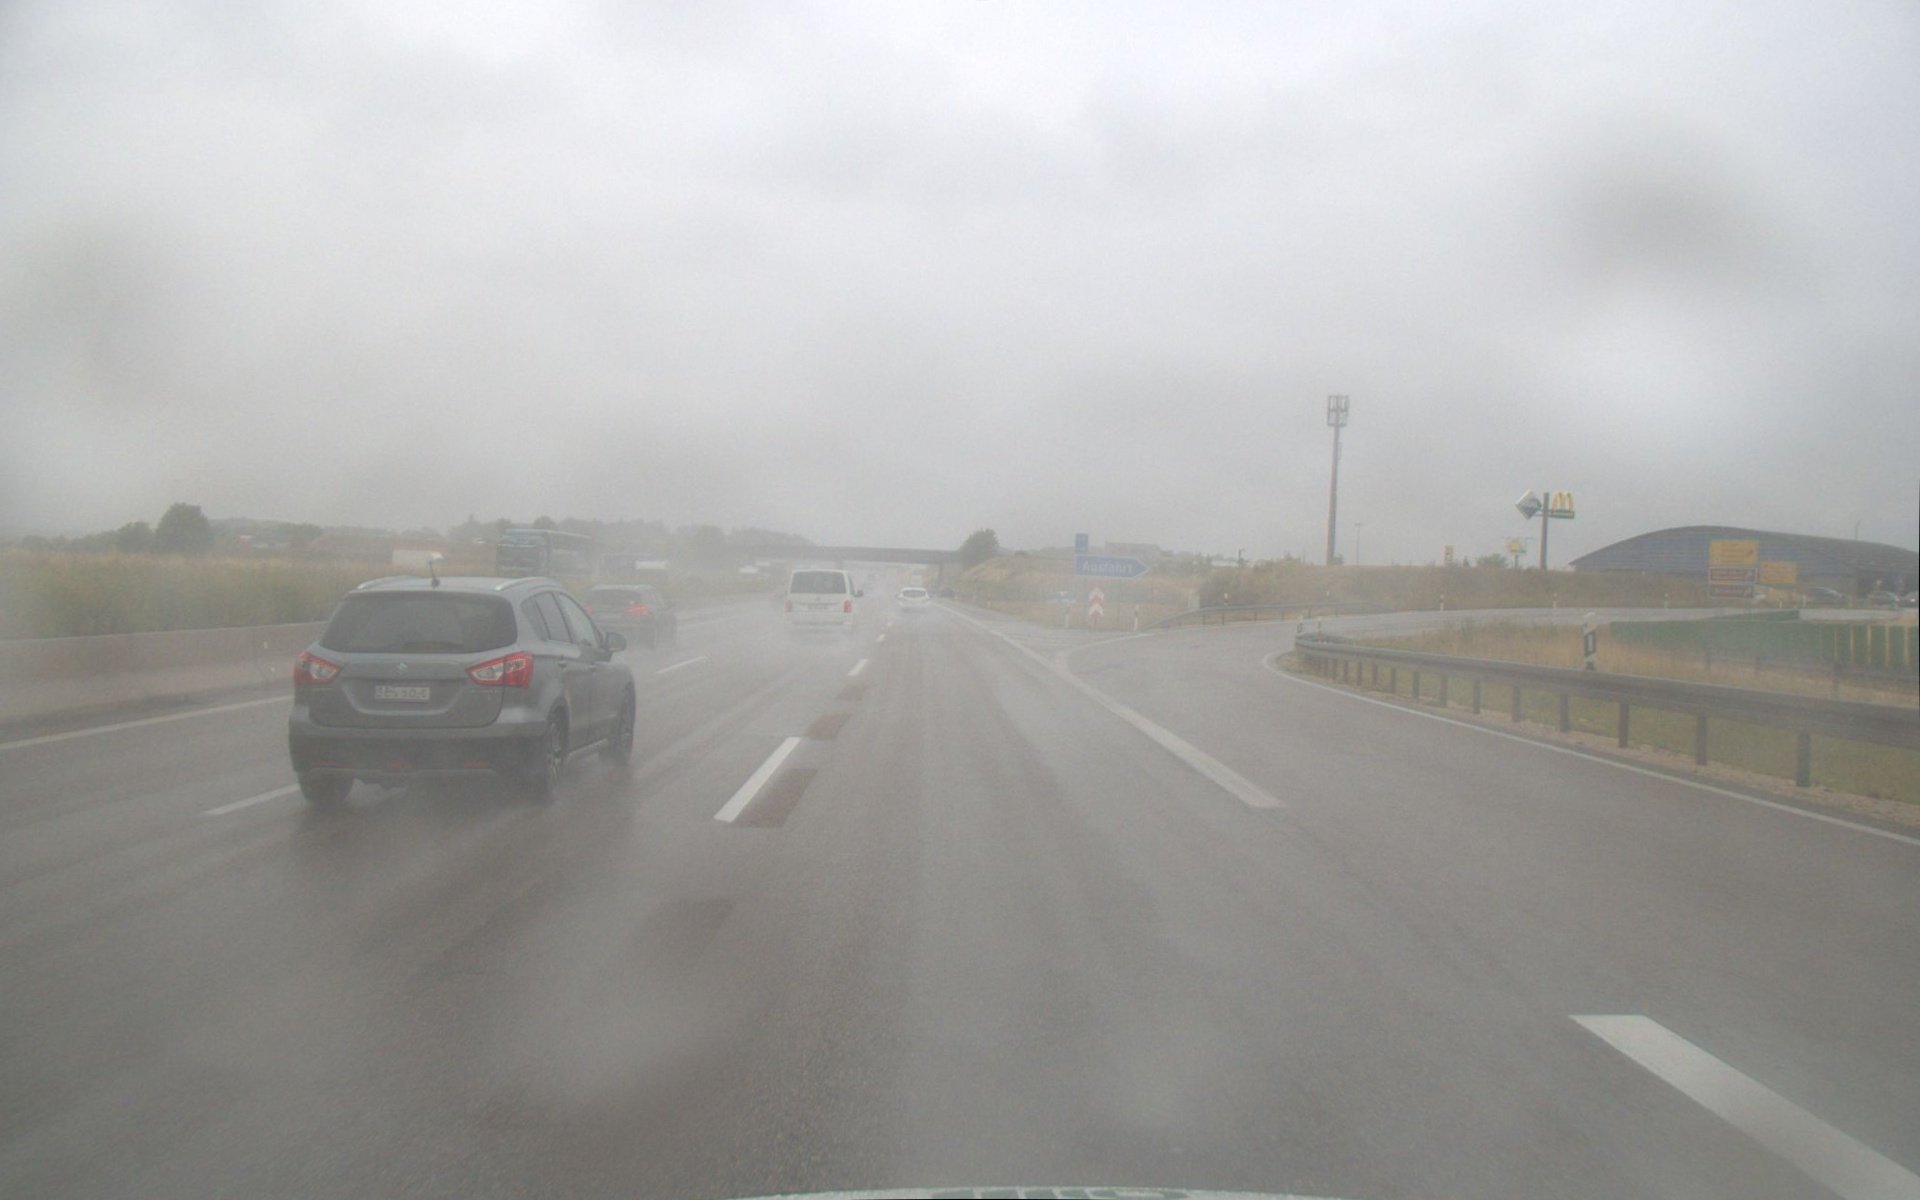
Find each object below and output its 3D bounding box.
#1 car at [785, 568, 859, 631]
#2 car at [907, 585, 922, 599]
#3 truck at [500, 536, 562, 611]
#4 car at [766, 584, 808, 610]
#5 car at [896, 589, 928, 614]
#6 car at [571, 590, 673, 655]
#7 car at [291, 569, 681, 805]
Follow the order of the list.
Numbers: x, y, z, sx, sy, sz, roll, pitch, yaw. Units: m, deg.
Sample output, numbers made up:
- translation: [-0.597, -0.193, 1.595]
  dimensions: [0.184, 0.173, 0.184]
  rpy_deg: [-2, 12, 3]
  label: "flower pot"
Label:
- translation: [-3.783, -0.005, 45.817]
  dimensions: [1.859, 1.613, 3.998]
  rpy_deg: [1, 0, -3]
  label: "car"
- translation: [-6.996, -1.261, 255.420]
  dimensions: [1.955, 2.138, 3.995]
  rpy_deg: [1, 0, -6]
  label: "car"
- translation: [-24.084, -1.461, 92.962]
  dimensions: [2.169, 4.053, 5.183]
  rpy_deg: [1, 0, -2]
  label: "truck"
- translation: [-8.786, -0.129, 84.066]
  dimensions: [1.437, 1.279, 3.342]
  rpy_deg: [1, 0, 6]
  label: "car"
- translation: [-2.416, 0.047, 83.956]
  dimensions: [1.437, 1.229, 2.992]
  rpy_deg: [1, 0, 1]
  label: "car"
- translation: [-7.689, 0.484, 37.939]
  dimensions: [1.580, 1.378, 3.999]
  rpy_deg: [1, 0, -1]
  label: "car"
- translation: [-3.549, 0.567, 13.373]
  dimensions: [1.809, 1.539, 4.756]
  rpy_deg: [1, 0, -1]
  label: "car"
